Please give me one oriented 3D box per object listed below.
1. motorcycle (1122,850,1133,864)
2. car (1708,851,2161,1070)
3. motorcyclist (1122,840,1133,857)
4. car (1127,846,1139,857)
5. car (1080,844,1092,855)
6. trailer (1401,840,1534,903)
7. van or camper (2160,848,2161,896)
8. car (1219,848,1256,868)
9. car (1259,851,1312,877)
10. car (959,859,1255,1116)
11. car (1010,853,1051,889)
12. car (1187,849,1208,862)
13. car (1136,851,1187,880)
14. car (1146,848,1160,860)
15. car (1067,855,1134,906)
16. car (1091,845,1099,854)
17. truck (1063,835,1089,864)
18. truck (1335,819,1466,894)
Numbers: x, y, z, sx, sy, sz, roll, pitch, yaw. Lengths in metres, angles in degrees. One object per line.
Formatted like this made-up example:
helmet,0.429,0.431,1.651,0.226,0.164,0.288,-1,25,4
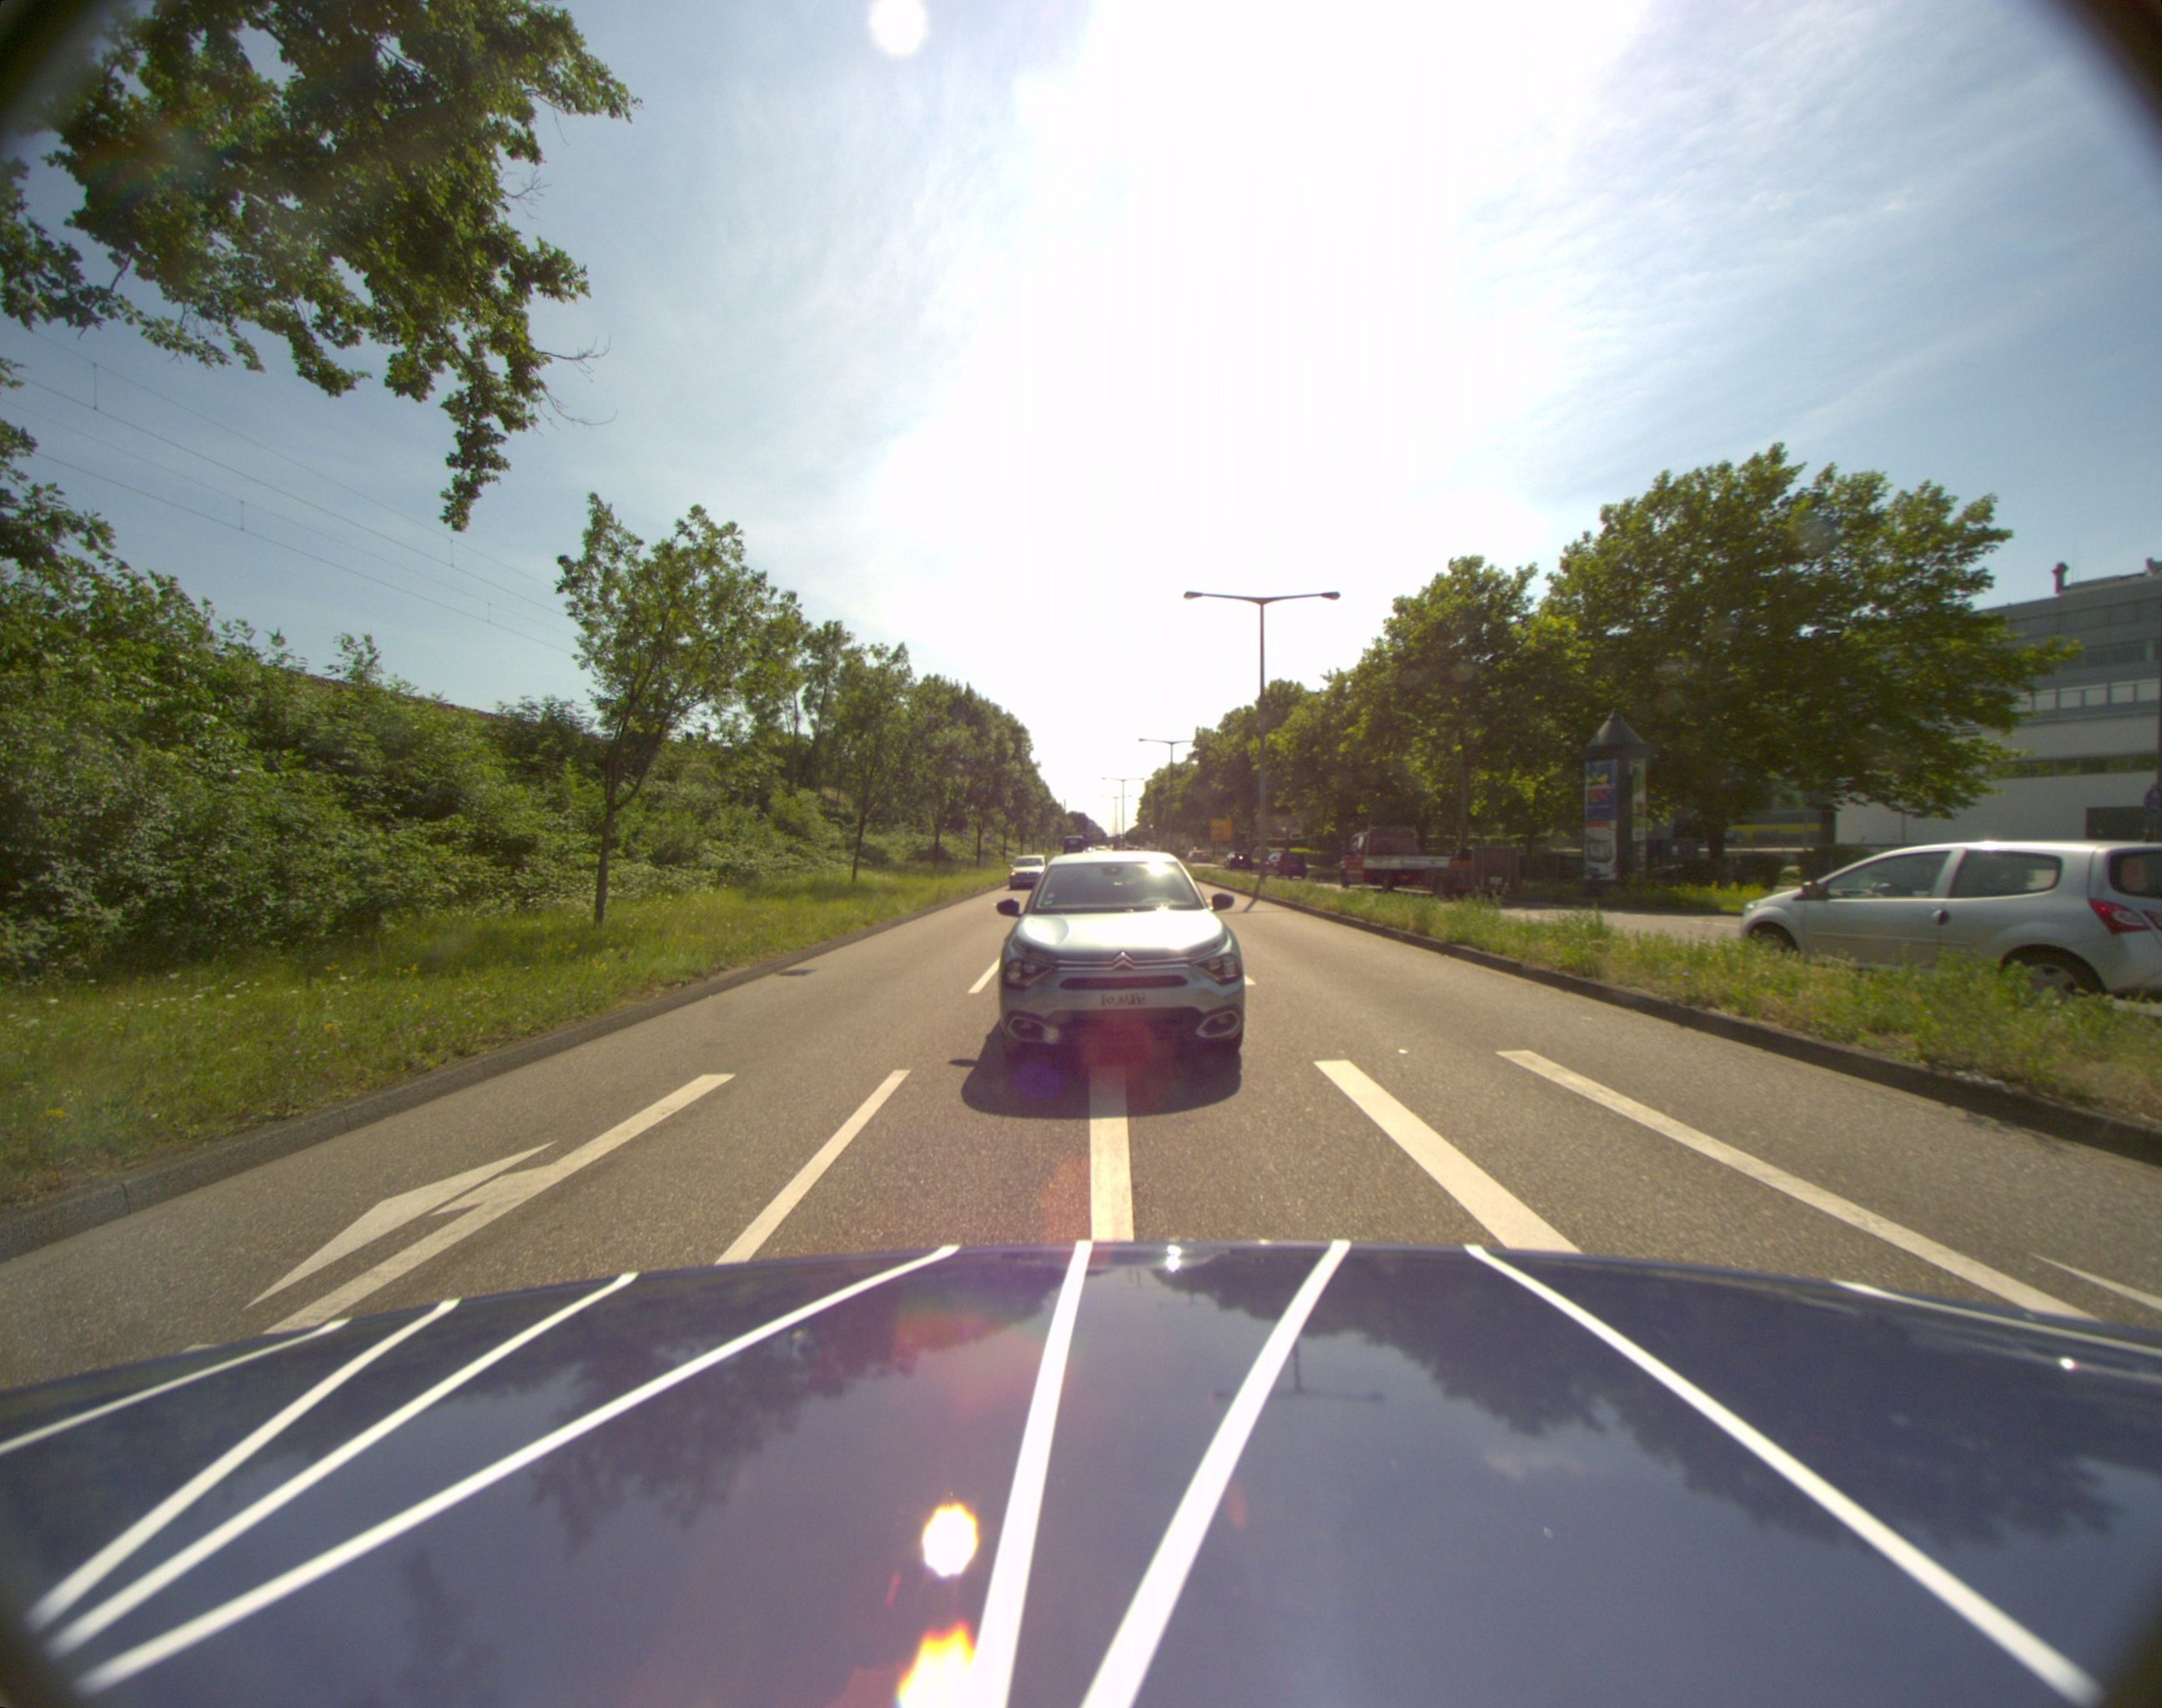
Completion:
motorcycle,4.777,0.316,78.308,1.052,1.343,2.331,-1,1,0
car,8.268,0.735,7.162,1.653,1.505,3.735,-1,0,1
motorcyclist,4.740,-0.565,78.152,1.066,1.689,1.042,-1,1,0
car,9.292,-0.464,135.693,1.998,2.002,4.000,-1,1,1
car,0.915,-0.830,135.759,1.998,2.002,4.000,-1,1,1
trailer,11.469,0.459,22.882,2.067,1.706,3.991,-1,1,2
van or camper,39.495,0.635,25.016,2.004,1.682,4.500,-1,1,-37
car,12.252,0.292,59.567,1.844,1.414,3.892,0,1,-4
car,11.516,0.566,43.050,1.853,1.426,3.766,0,0,-2
car,0.247,0.855,7.102,1.826,1.521,4.752,-1,0,2
car,-2.202,0.727,33.877,1.705,1.429,3.677,-2,1,-2
car,13.535,0.110,88.347,1.844,1.414,4.221,1,0,0
car,4.267,0.555,39.873,1.728,1.354,4.072,-2,1,20
car,11.801,-0.003,124.575,1.998,2.002,4.000,-1,1,1
car,0.603,0.793,24.771,1.998,1.492,4.000,-1,0,1
car,3.297,-1.105,178.856,1.998,2.002,4.000,-1,1,1
truck,-0.497,-0.557,89.478,2.775,3.248,7.482,0,1,1
truck,11.654,0.053,28.452,2.144,2.461,7.129,-1,1,2
